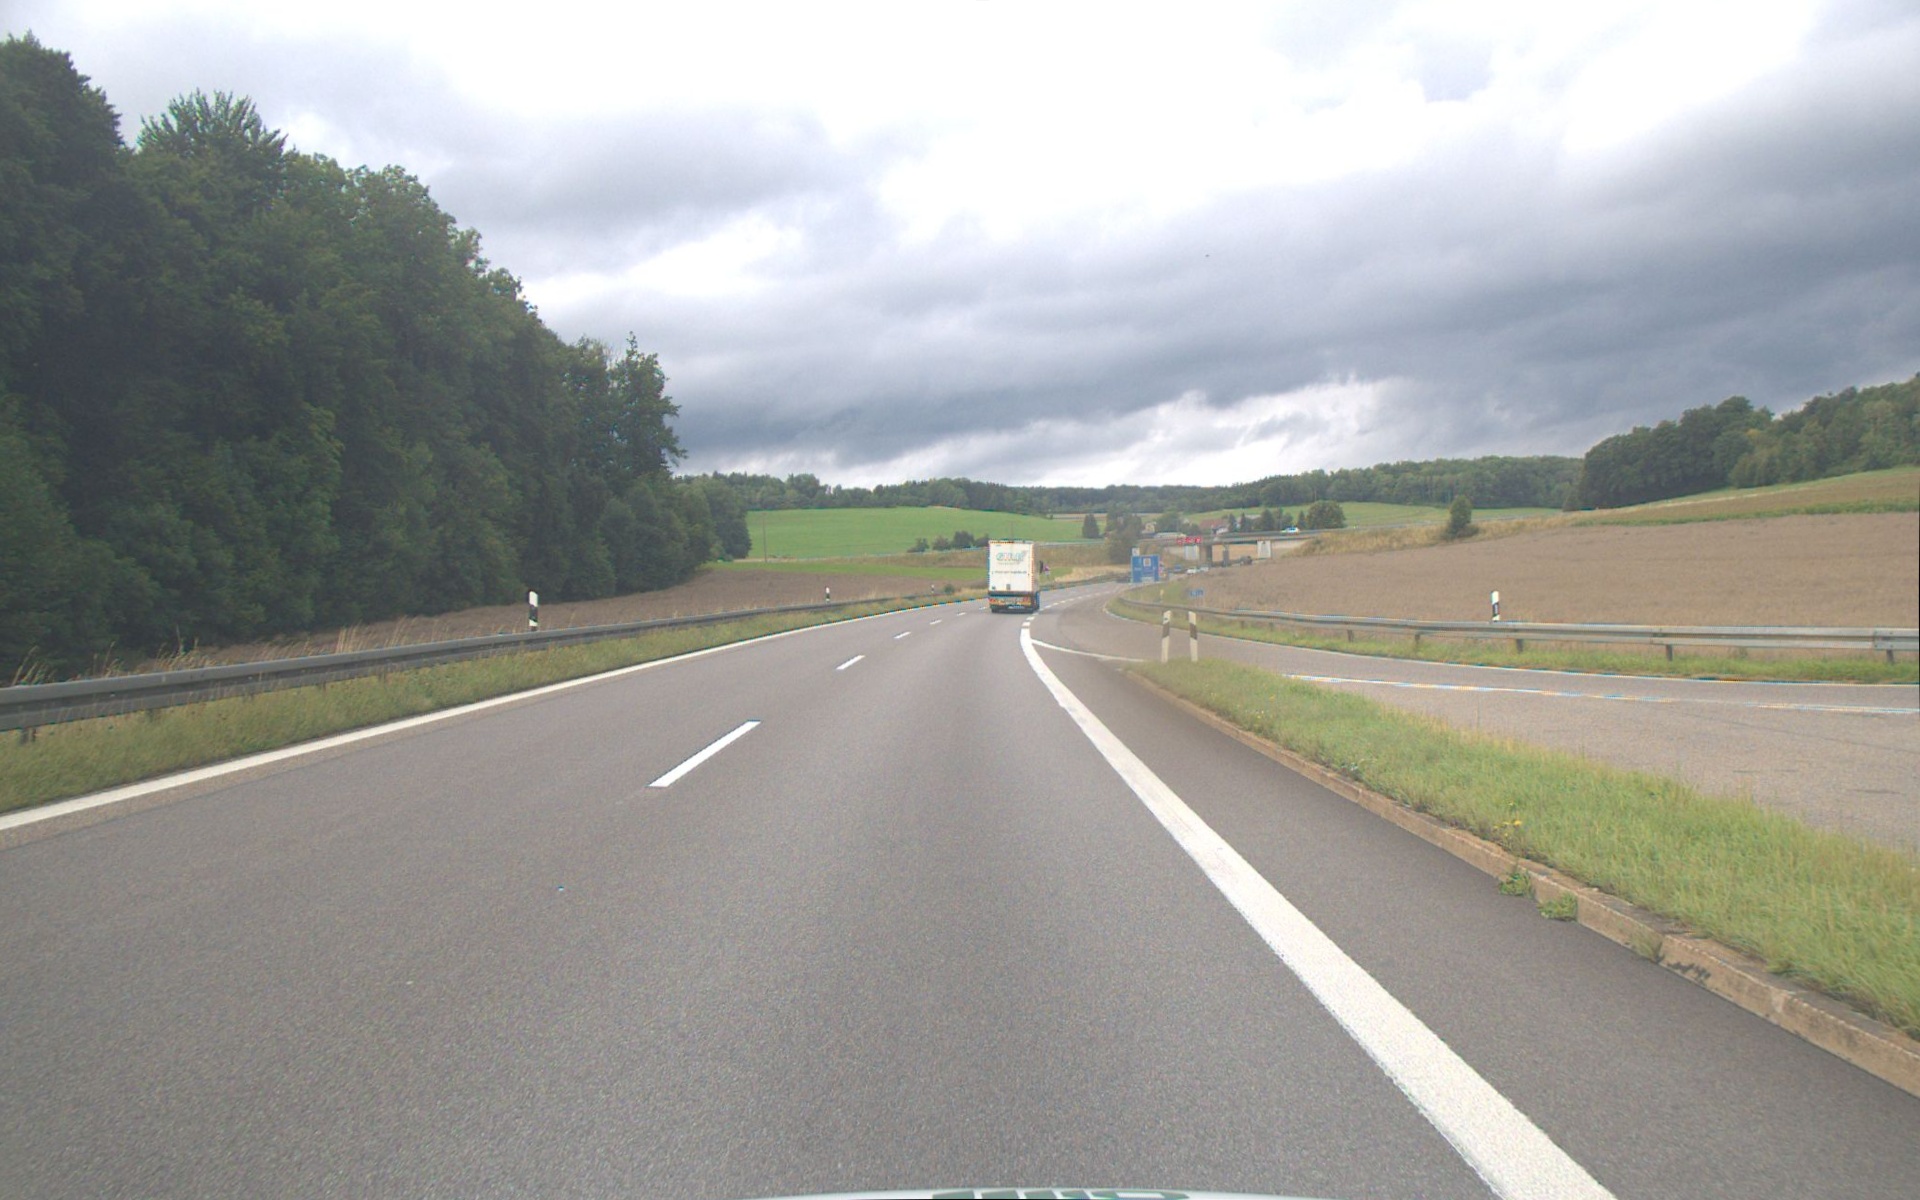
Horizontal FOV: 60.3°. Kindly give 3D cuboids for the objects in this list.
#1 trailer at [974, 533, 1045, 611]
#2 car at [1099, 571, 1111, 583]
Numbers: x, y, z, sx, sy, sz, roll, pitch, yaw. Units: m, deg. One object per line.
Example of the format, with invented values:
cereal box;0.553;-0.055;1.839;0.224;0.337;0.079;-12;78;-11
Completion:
trailer;3.084;-1.576;97.476;3.726;4.247;14.815;0;0;3
car;22.938;-3.638;261.843;1.862;1.827;4.002;-1;-1;6
